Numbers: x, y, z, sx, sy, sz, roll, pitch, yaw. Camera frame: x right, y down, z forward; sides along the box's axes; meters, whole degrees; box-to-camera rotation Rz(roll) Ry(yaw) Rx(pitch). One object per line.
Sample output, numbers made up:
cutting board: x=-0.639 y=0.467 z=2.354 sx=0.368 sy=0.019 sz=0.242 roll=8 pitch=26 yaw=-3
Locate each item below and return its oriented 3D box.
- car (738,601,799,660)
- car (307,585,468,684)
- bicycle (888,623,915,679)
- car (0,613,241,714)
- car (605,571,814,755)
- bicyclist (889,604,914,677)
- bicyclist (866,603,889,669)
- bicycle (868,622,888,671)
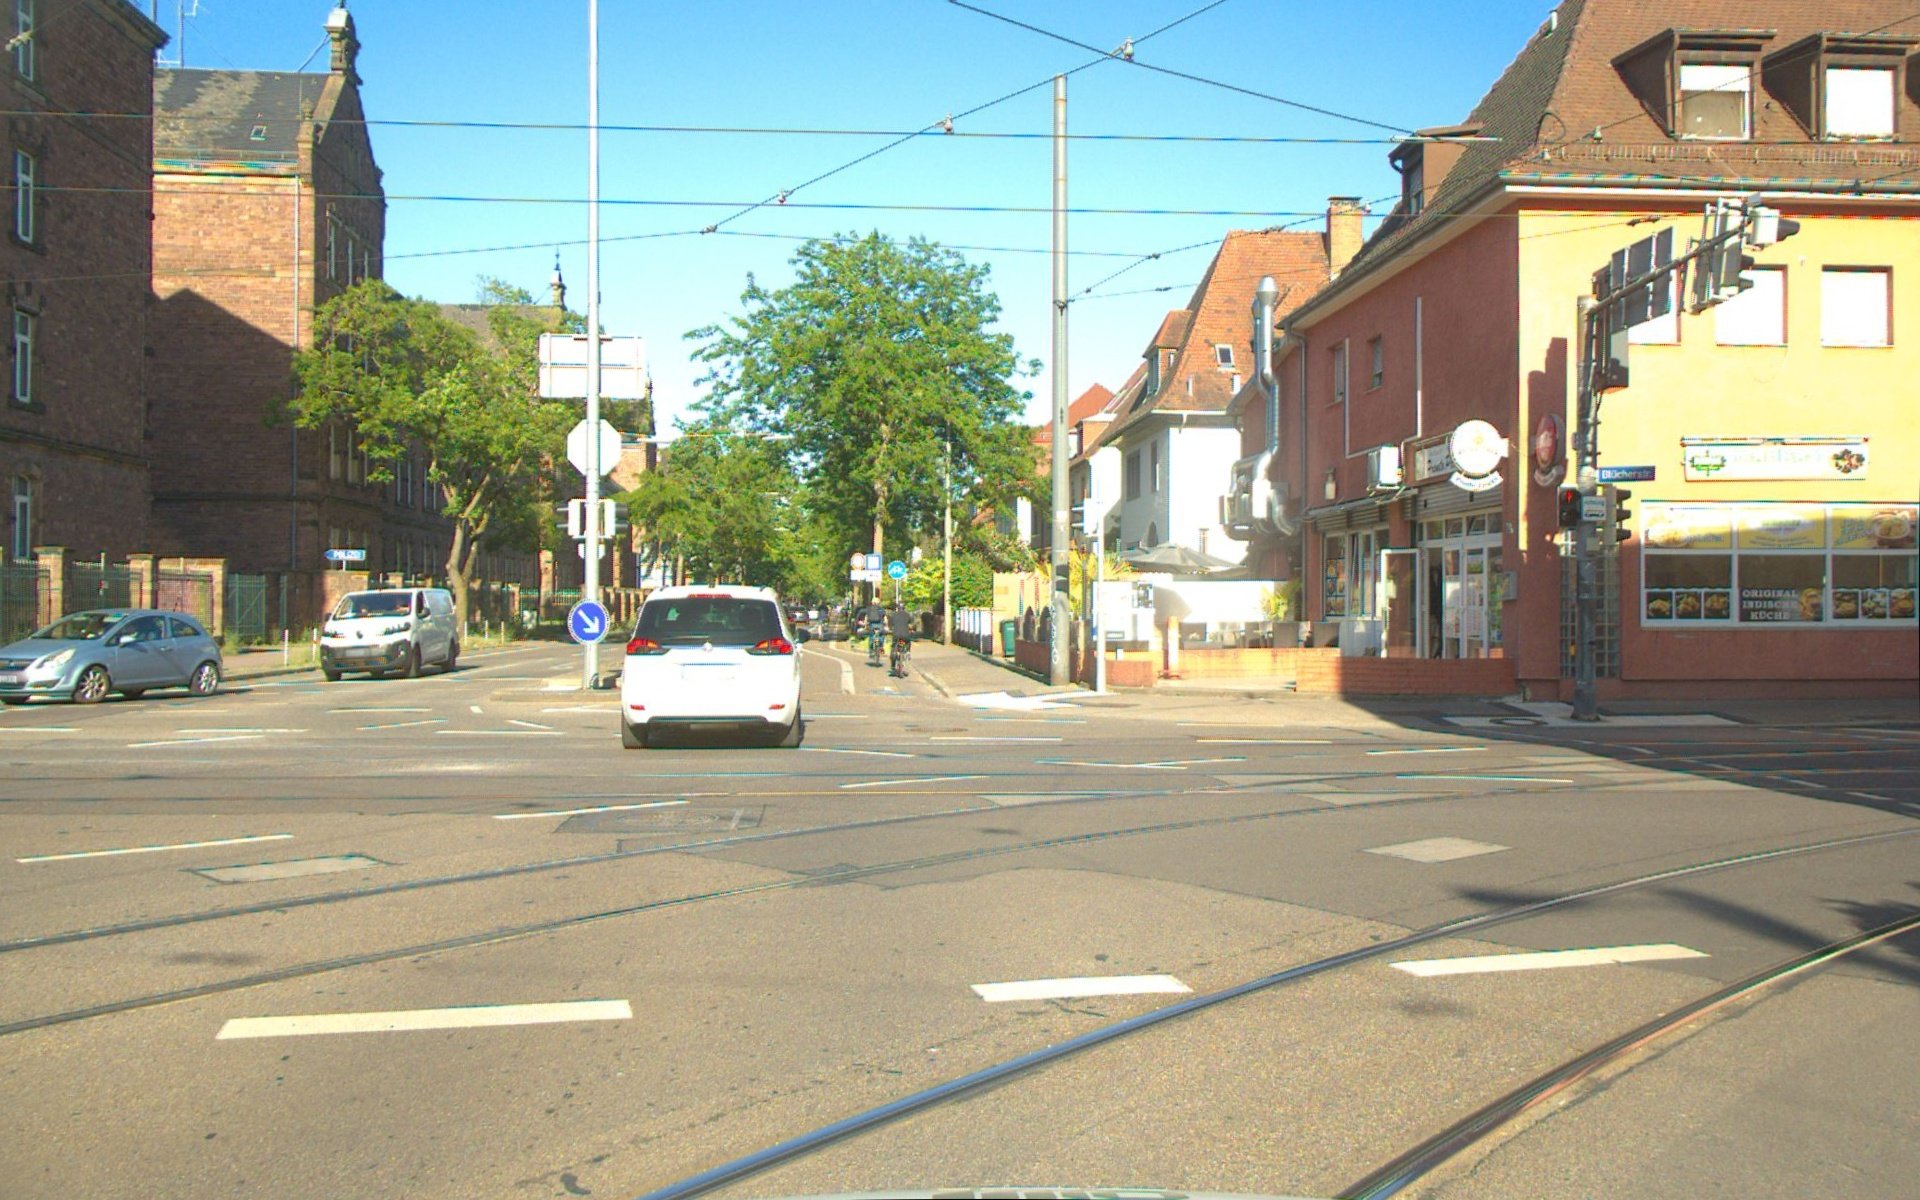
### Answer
car: x=-6.833 y=1.037 z=58.714 sx=1.954 sy=1.881 sz=4.242 roll=3 pitch=0 yaw=-8
car: x=-12.358 y=0.705 z=36.096 sx=2.116 sy=1.963 sz=5.296 roll=-1 pitch=0 yaw=-6
bicycle: x=-1.343 y=1.151 z=37.959 sx=0.547 sy=1.209 sz=1.994 roll=0 pitch=0 yaw=-4
car: x=-13.783 y=0.971 z=26.873 sx=1.699 sy=1.468 sz=4.118 roll=-1 pitch=0 yaw=14
car: x=-2.593 y=0.585 z=18.059 sx=1.925 sy=1.694 sz=4.245 roll=3 pitch=0 yaw=-5
bicyclist: x=-1.348 y=0.932 z=38.211 sx=0.543 sy=1.645 sz=0.686 roll=0 pitch=1 yaw=-4
bicyclist: x=-2.149 y=0.925 z=43.041 sx=0.596 sy=1.685 sz=0.794 roll=0 pitch=1 yaw=-4
bicycle: x=-2.126 y=1.184 z=42.724 sx=0.461 sy=1.210 sz=1.994 roll=0 pitch=0 yaw=-4
